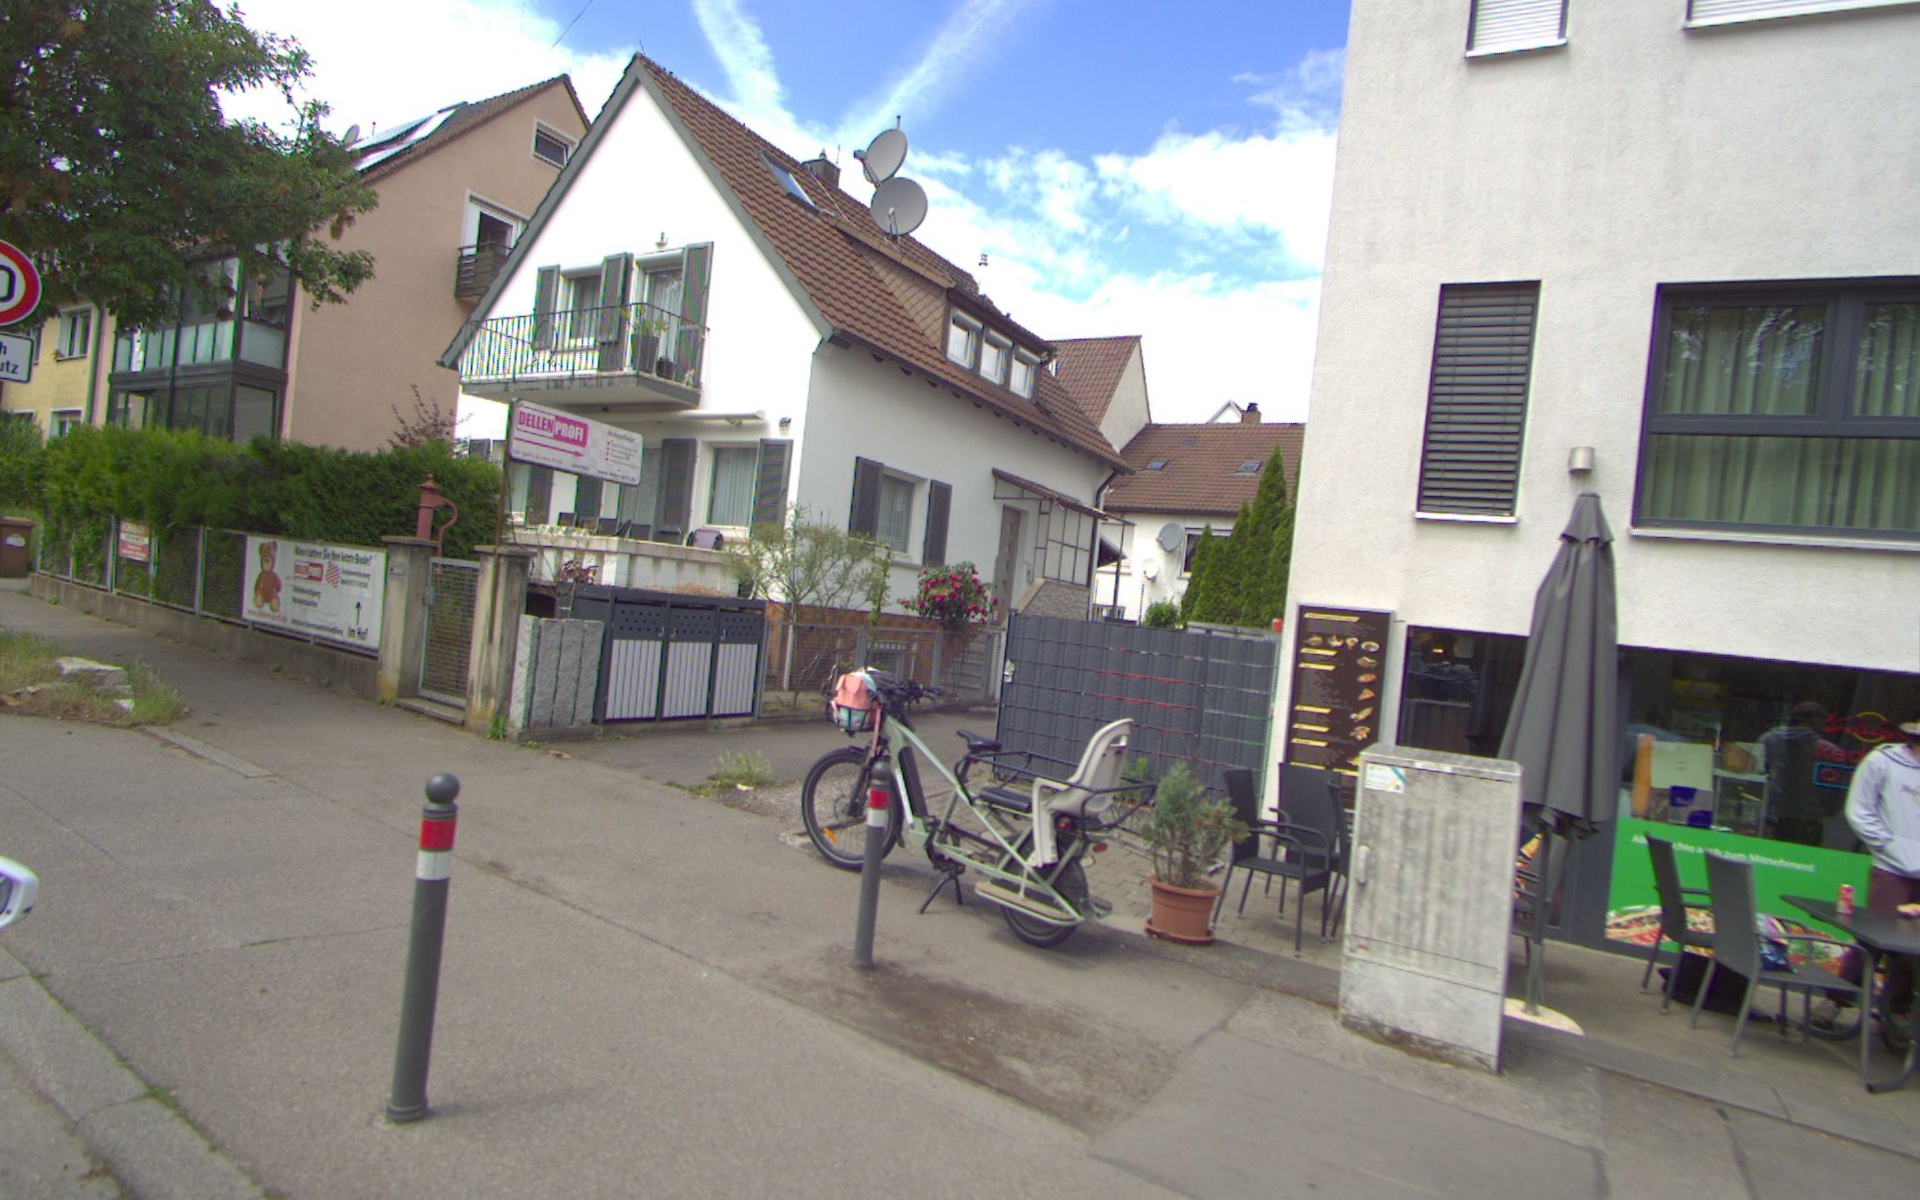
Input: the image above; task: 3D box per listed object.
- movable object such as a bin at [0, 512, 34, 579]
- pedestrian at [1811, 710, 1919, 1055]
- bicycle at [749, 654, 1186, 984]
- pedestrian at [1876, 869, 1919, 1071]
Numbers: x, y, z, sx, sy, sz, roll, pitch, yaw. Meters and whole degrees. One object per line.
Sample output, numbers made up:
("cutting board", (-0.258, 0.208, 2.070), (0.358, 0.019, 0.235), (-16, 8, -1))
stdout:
("movable object such as a bin", (-16.433, -0.955, 17.336), (0.595, 1.093, 0.523), (6, -1, 38))
("pedestrian", (5.294, 1.547, 5.539), (0.663, 1.783, 0.429), (6, 0, 12))
("bicycle", (-0.044, 0.998, 5.219), (2.180, 1.164, 0.720), (6, -1, 38))
("pedestrian", (5.115, 1.917, 5.092), (0.488, 0.949, 0.420), (6, -1, 12))
